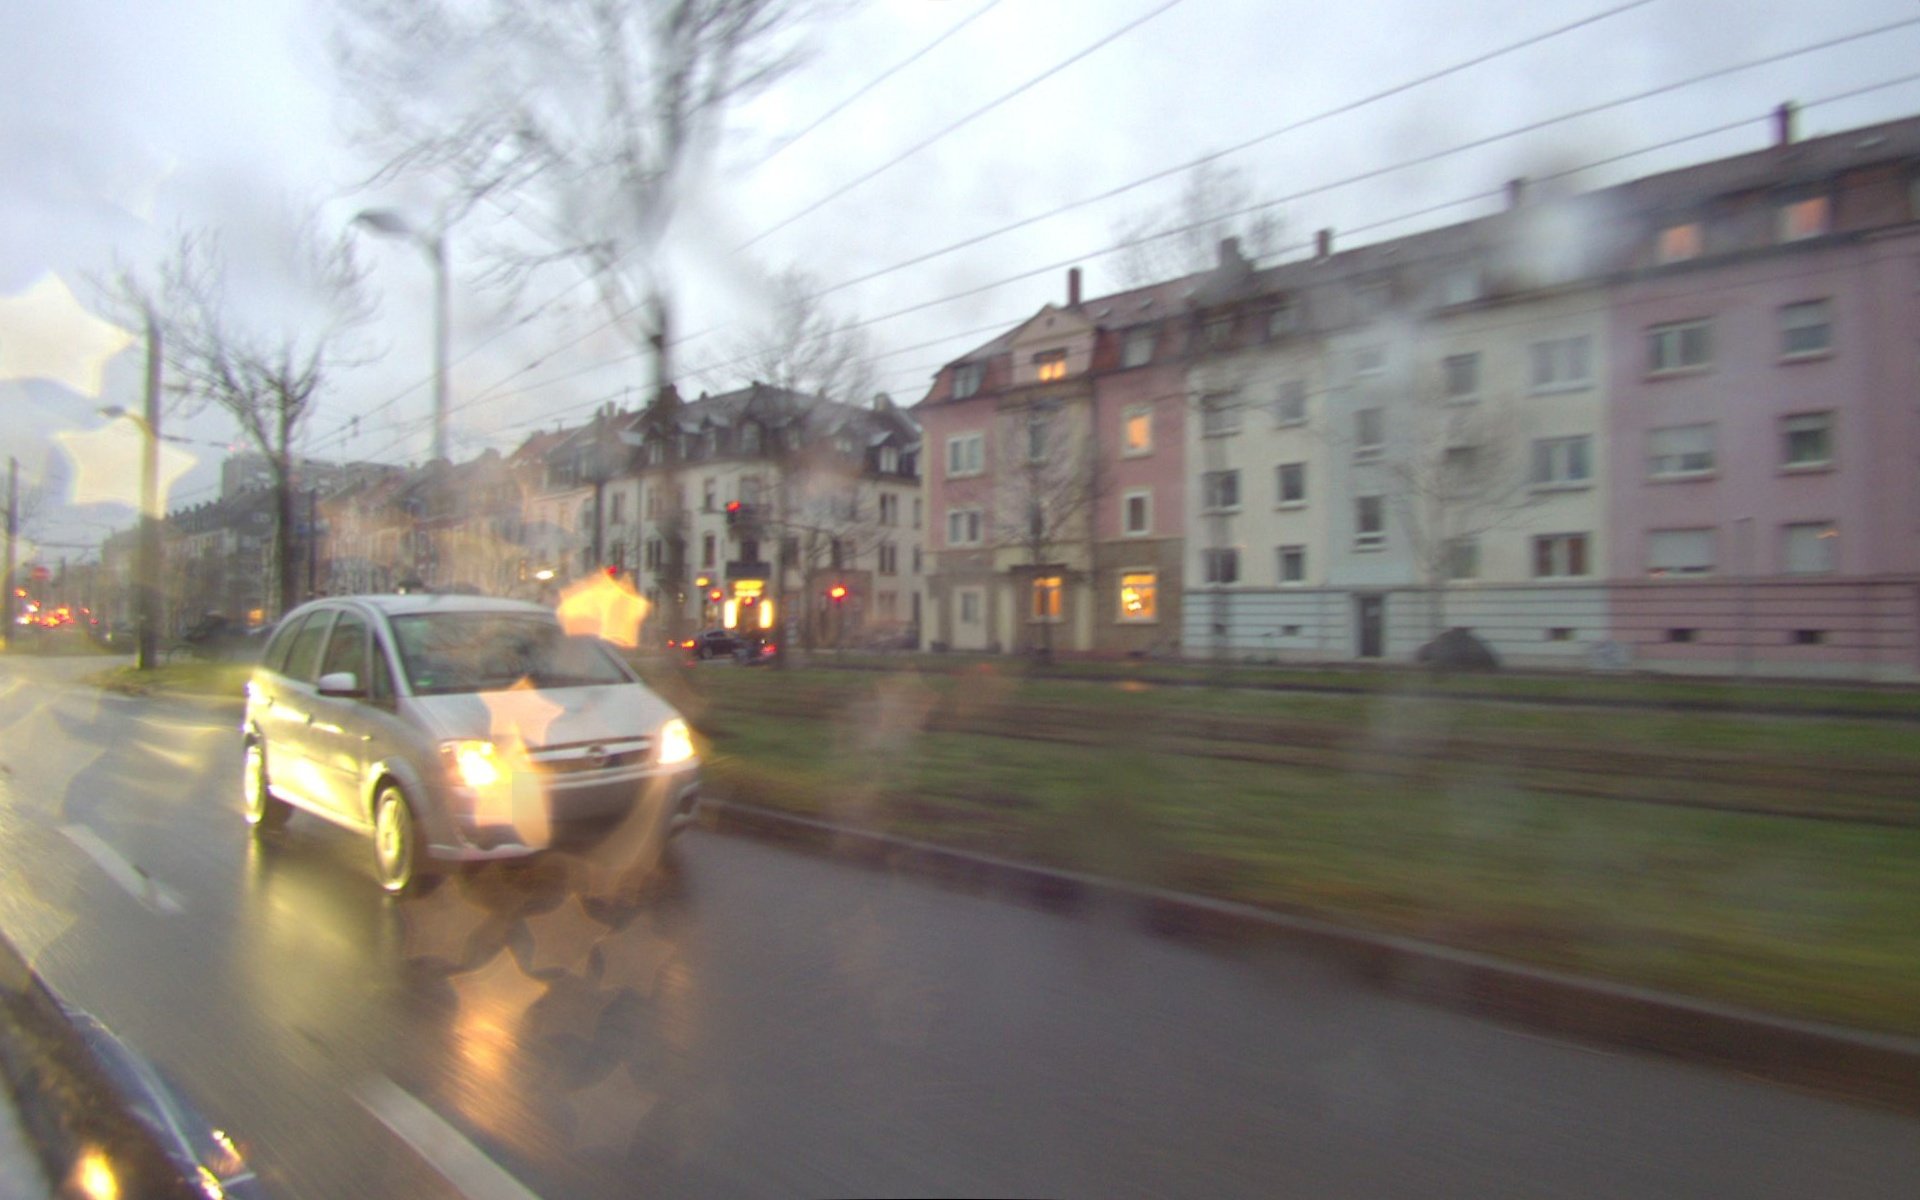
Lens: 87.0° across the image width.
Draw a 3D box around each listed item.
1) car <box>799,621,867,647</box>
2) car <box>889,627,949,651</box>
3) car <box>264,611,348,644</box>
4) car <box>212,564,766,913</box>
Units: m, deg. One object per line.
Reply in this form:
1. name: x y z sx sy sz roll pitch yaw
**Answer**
1. car: -7.731 2.072 61.861 1.794 1.497 3.945 -1 -2 41
2. car: -2.684 2.550 67.002 1.794 1.497 3.945 -1 -2 41
3. car: -56.860 2.380 88.094 5.776 2.819 2.003 1 -2 -6
4. car: -3.281 0.664 6.679 4.050 1.612 1.791 -1 -1 40
